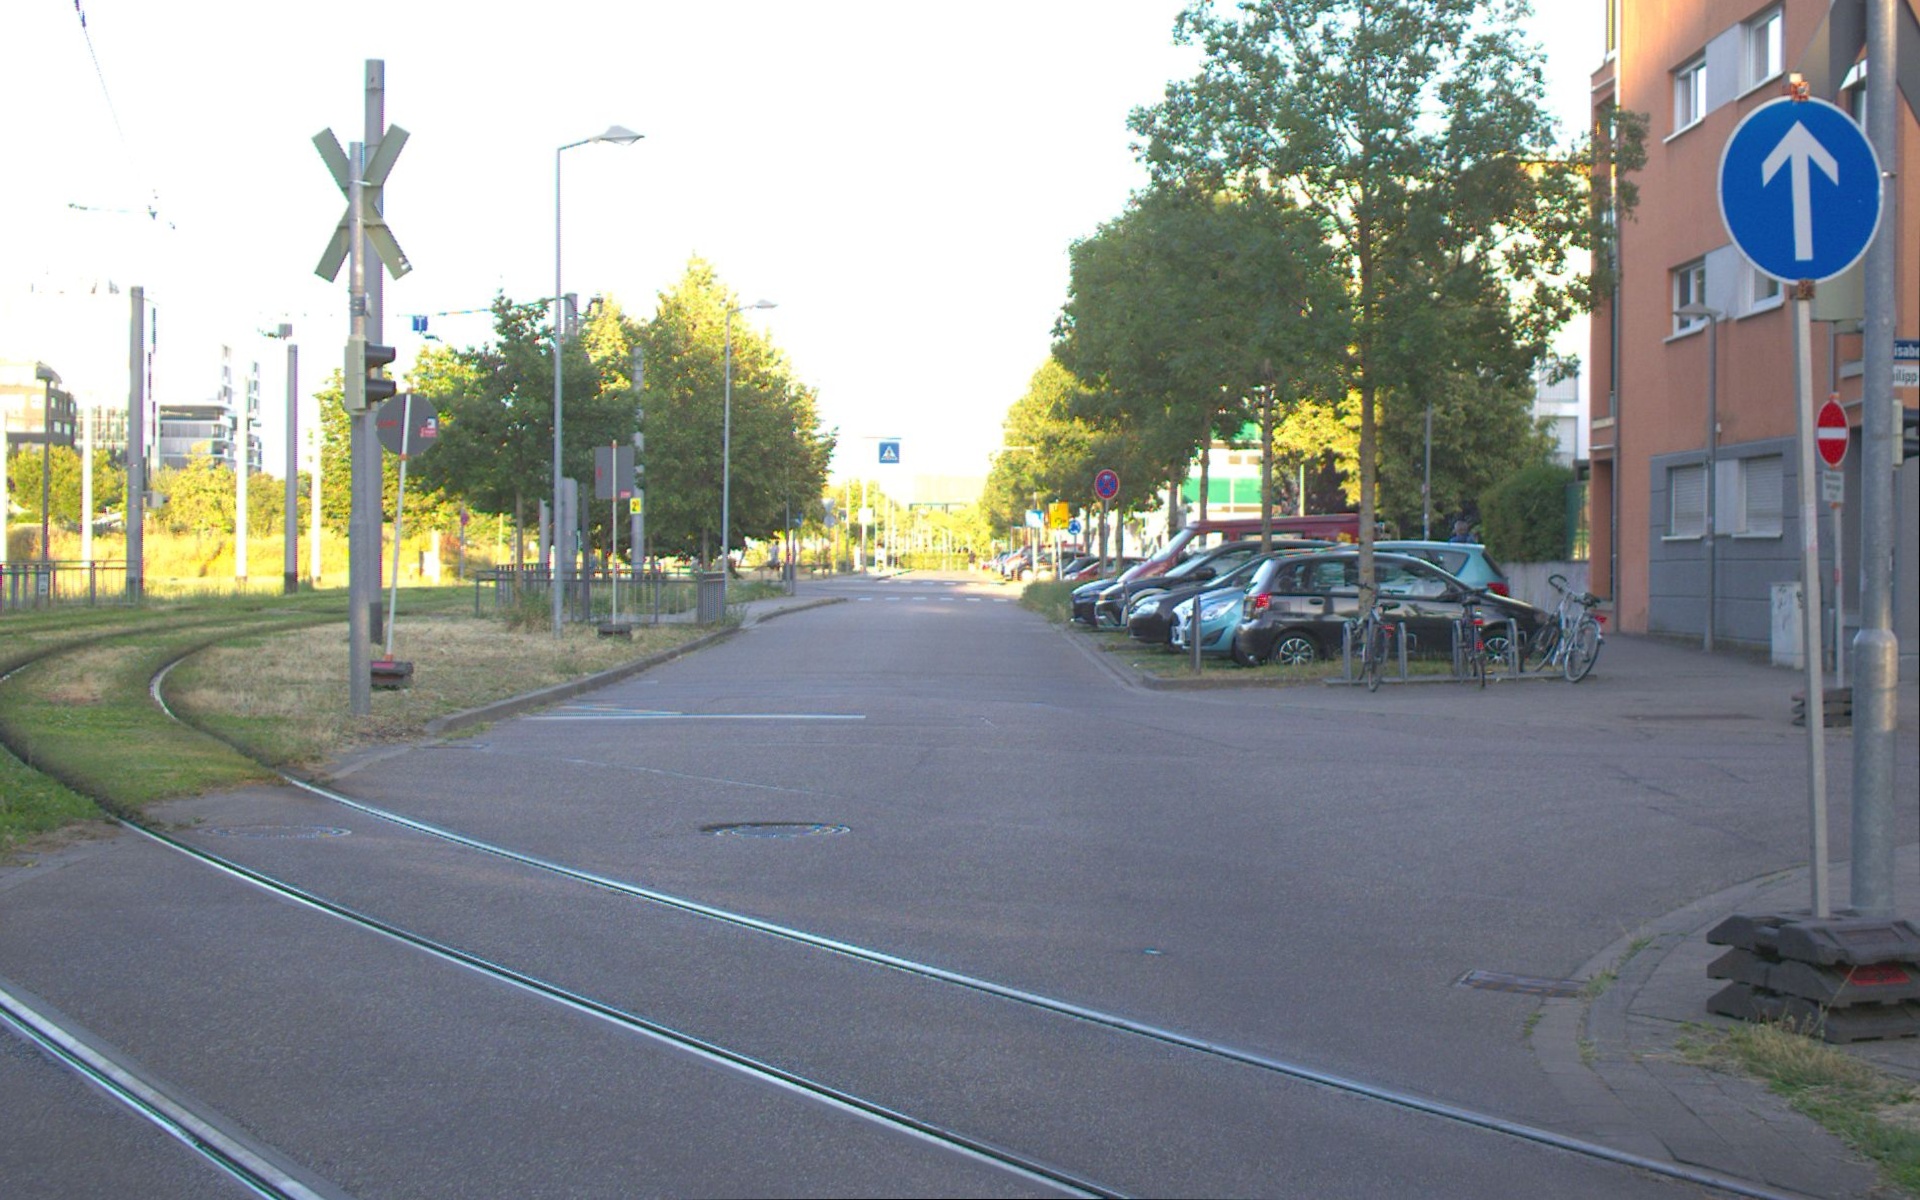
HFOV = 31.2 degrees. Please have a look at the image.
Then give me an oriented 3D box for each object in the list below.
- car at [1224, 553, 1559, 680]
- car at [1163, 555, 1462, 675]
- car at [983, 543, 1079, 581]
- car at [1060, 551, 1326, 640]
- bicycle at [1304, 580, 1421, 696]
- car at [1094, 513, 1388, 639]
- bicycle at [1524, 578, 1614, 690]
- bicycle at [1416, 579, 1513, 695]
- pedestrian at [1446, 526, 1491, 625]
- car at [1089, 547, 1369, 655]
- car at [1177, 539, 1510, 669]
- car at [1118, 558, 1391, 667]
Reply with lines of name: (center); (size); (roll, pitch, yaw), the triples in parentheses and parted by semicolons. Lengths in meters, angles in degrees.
car: (5.184, 0.188, 41.583); (3.749, 1.468, 1.613); (1, 1, -4)
car: (4.755, 0.187, 46.735); (3.876, 1.563, 1.620); (1, 0, 0)
car: (3.852, -2.071, 186.225); (5.002, 2.038, 2.250); (0, 0, -4)
car: (4.163, -0.088, 62.000); (4.669, 1.551, 1.811); (0, 0, 0)
bicycle: (4.337, 0.393, 37.180); (0.716, 1.148, 1.899); (-1, 2, -11)
car: (4.801, -0.411, 59.210); (4.920, 2.110, 2.017); (0, 0, 1)
bicycle: (6.634, 0.358, 37.527); (0.529, 1.123, 1.963); (2, 2, -2)
bicycle: (5.418, 0.381, 37.006); (0.679, 1.148, 1.928); (-2, 2, -2)
pedestrian: (8.944, -0.430, 60.515); (0.668, 1.737, 0.699); (0, 0, 0)
car: (4.186, 0.003, 53.877); (4.215, 1.563, 1.792); (-1, 0, 0)
car: (4.865, 0.042, 43.932); (4.050, 1.563, 1.673); (-1, 0, 0)
car: (4.194, 0.191, 49.349); (3.773, 1.490, 1.539); (1, -2, 0)
